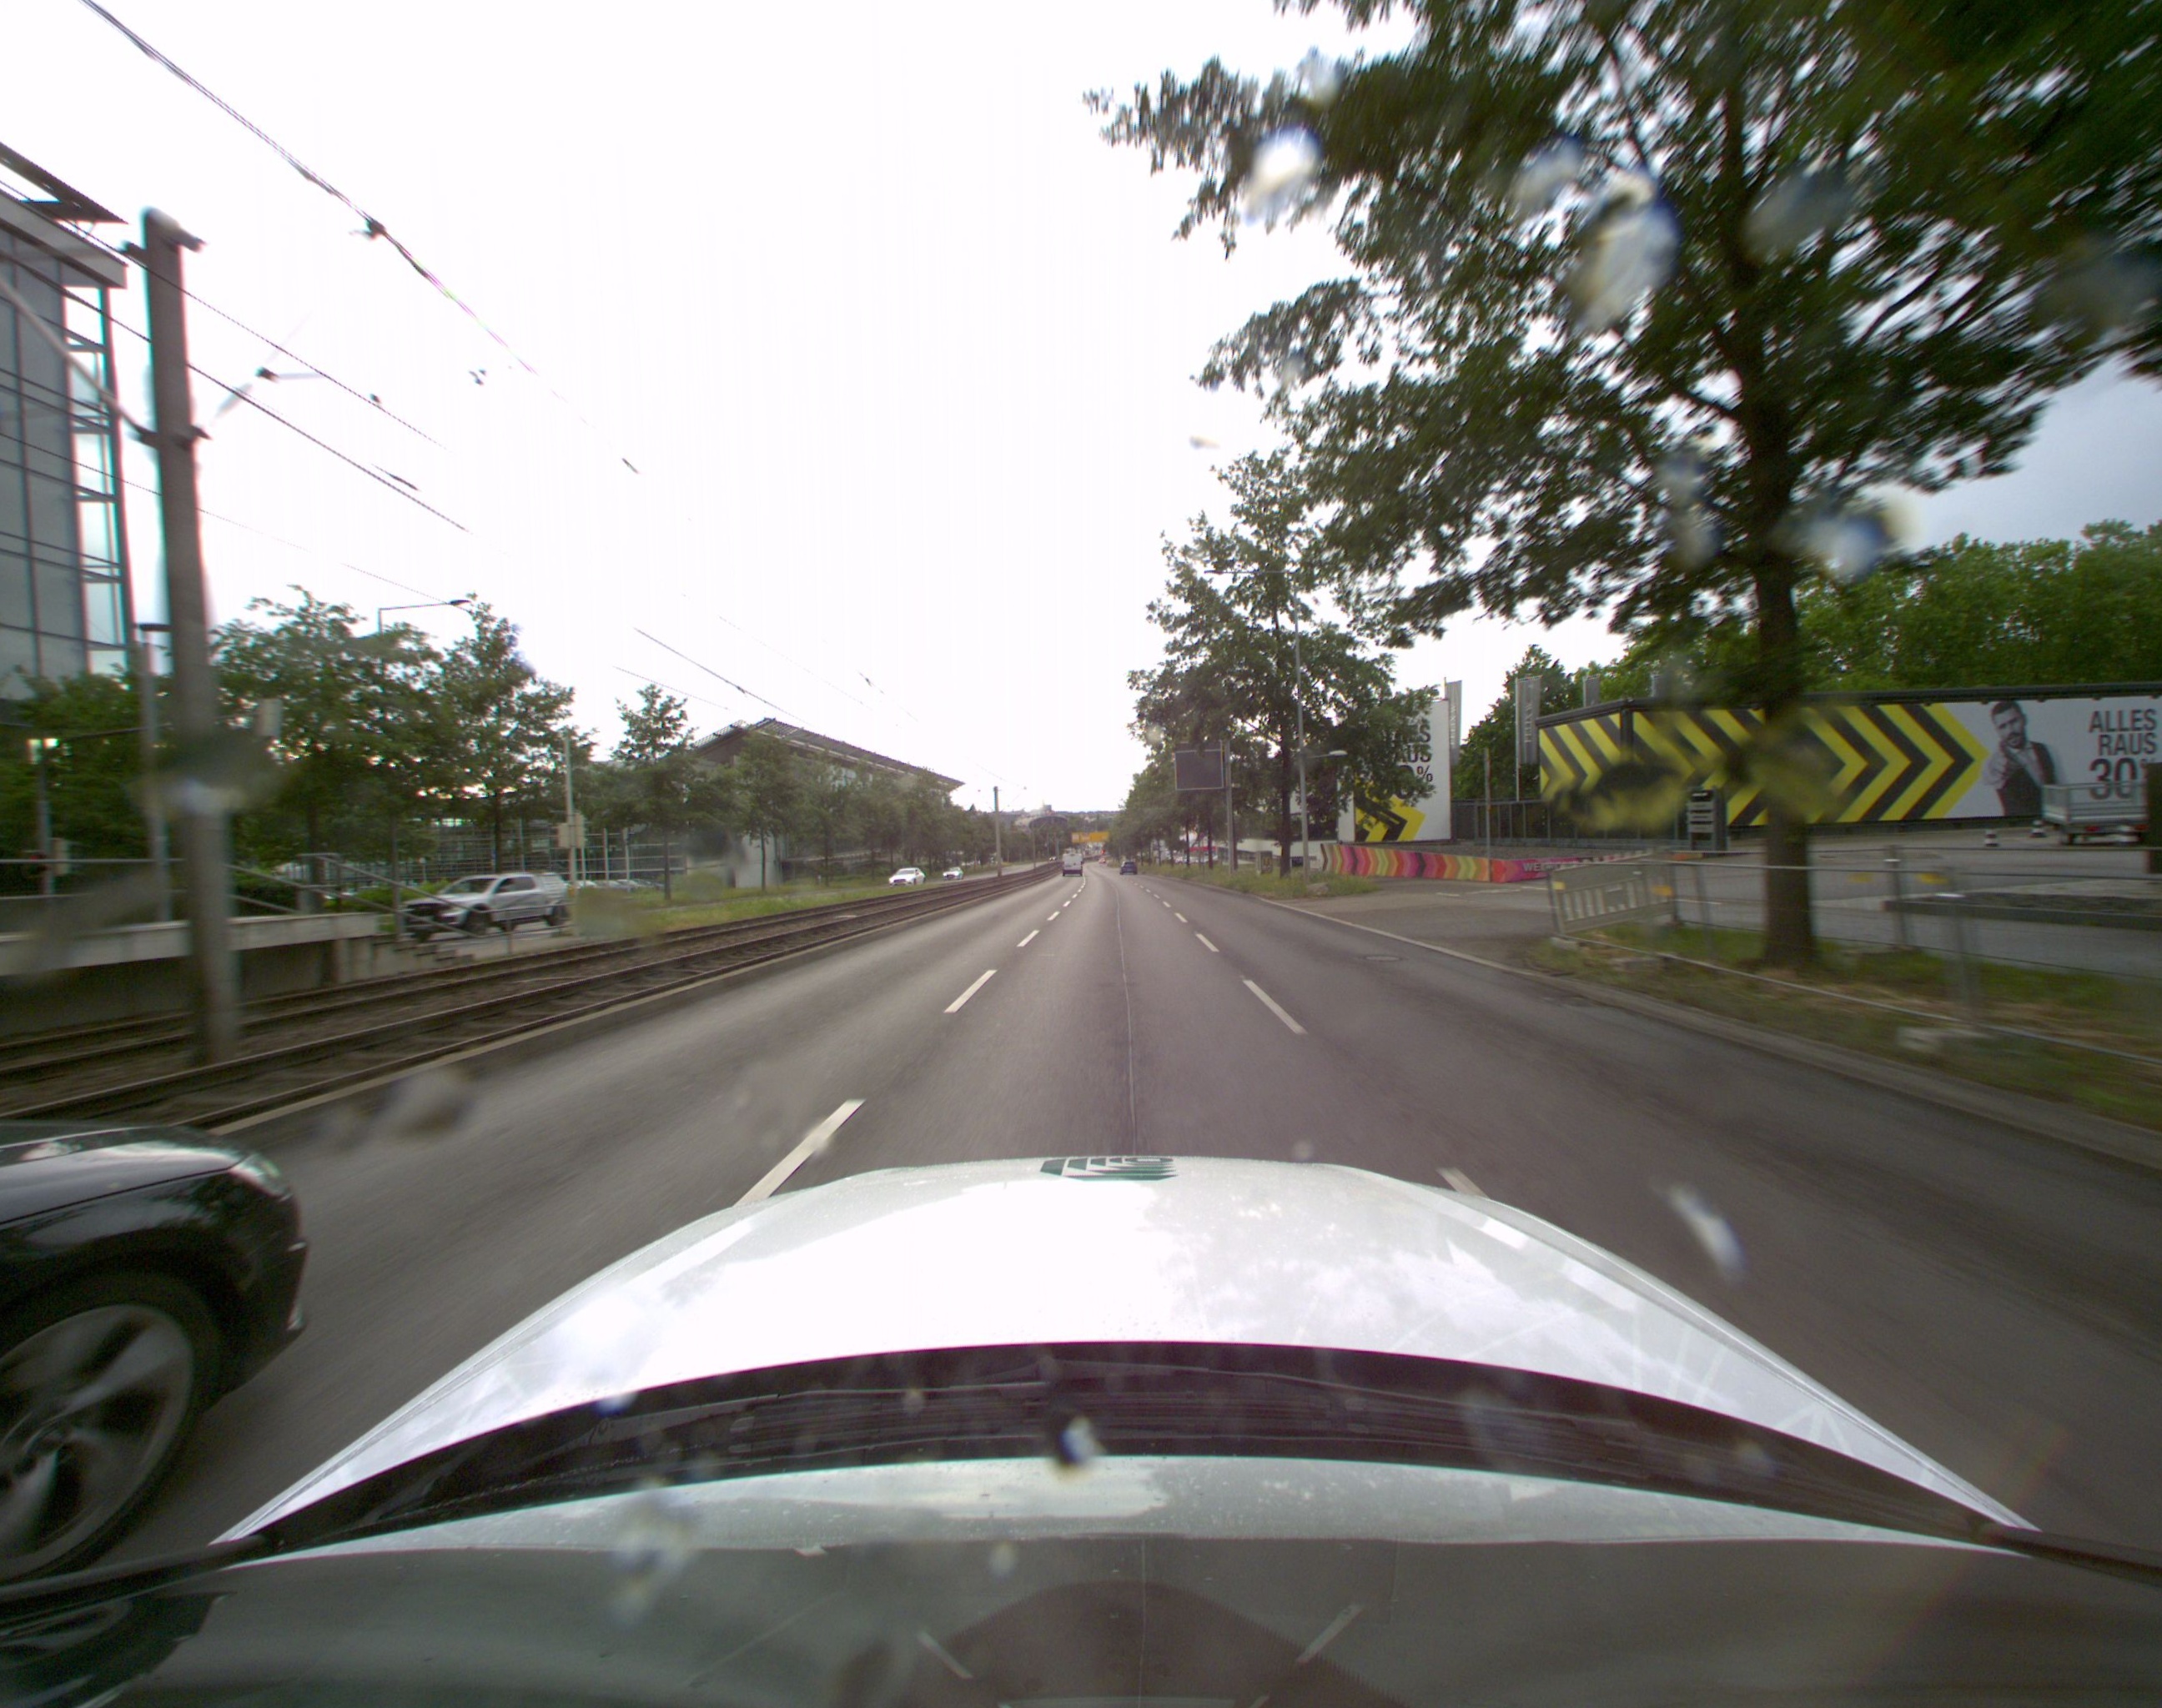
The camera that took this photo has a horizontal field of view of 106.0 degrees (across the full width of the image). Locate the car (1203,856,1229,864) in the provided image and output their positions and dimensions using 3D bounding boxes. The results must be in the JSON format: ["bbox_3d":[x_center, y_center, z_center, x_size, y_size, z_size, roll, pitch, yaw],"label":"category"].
[{"bbox_3d":[21.406,0.952,129.379,3.968,1.354,2.002,0,-1,4],"label":"car"}]

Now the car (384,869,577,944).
[{"bbox_3d":[-18.028,1.484,24.838,1.986,1.847,5.003,-3,0,2],"label":"car"}]

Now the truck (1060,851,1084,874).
[{"bbox_3d":[-0.913,0.904,83.373,2.353,2.262,5.304,0,-1,0],"label":"truck"}]

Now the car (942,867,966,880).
[{"bbox_3d":[-14.514,2.218,93.141,1.874,1.447,4.139,-2,-1,2],"label":"car"}]

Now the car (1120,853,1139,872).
[{"bbox_3d":[5.244,0.880,88.602,1.986,2.014,3.936,0,-1,2],"label":"car"}]

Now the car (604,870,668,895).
[{"bbox_3d":[-35.098,2.236,64.326,4.054,1.836,1.864,0,-1,3],"label":"car"}]

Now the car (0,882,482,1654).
[{"bbox_3d":[-3.038,0.835,0.351,1.783,1.434,4.832,-1,0,3],"label":"car"}]

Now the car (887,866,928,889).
[{"bbox_3d":[-12.790,1.694,60.324,1.830,1.444,4.431,-4,0,2],"label":"car"}]

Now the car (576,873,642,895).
[{"bbox_3d":[-35.685,2.242,61.580,4.036,1.618,1.639,0,-1,3],"label":"car"}]
